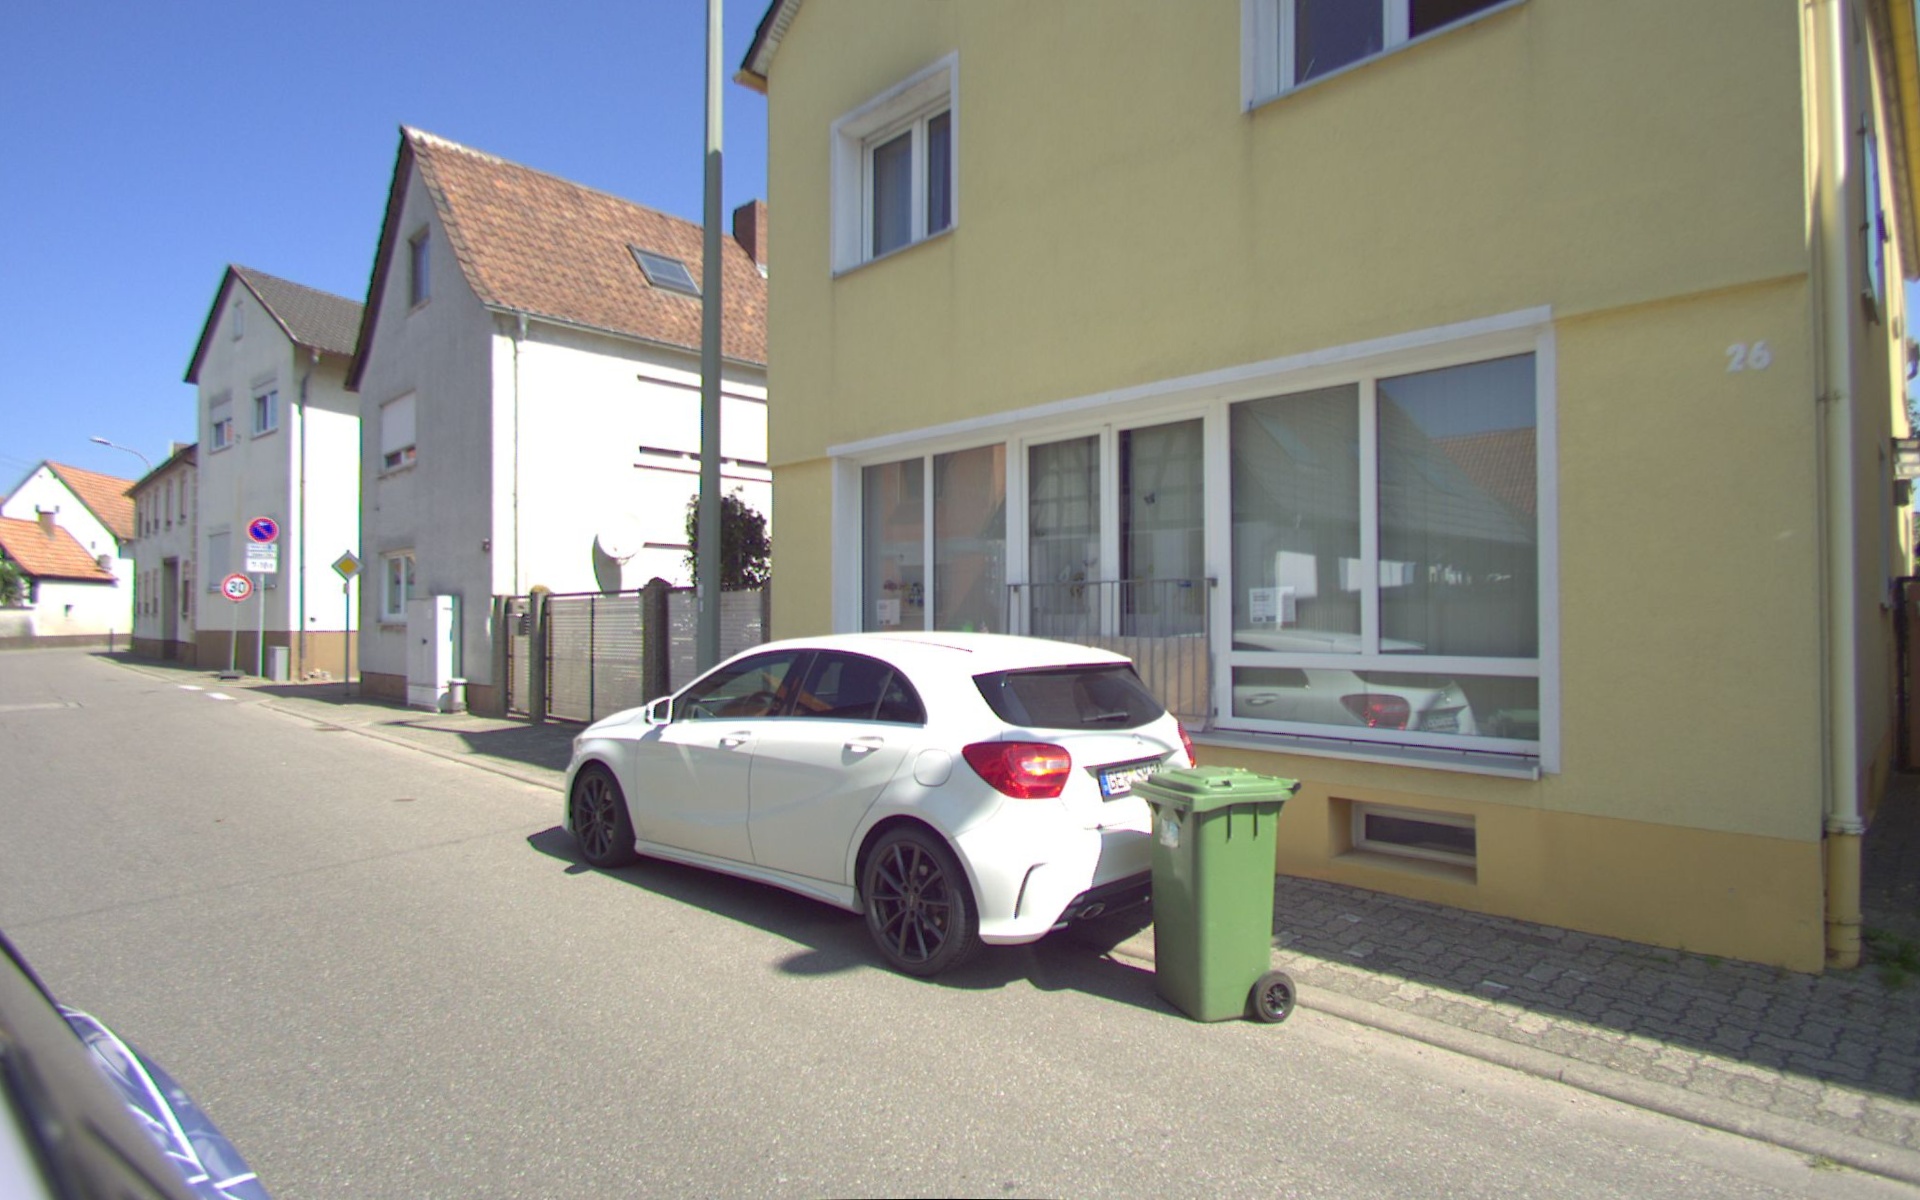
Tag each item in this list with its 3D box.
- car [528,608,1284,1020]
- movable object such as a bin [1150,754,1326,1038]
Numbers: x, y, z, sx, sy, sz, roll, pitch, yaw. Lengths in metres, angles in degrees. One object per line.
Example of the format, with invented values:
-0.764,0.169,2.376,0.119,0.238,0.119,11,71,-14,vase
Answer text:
-0.578,0.824,5.756,4.269,1.475,1.815,-1,-2,42,car
1.057,1.092,3.890,0.419,0.911,0.497,0,-1,-27,movable object such as a bin
